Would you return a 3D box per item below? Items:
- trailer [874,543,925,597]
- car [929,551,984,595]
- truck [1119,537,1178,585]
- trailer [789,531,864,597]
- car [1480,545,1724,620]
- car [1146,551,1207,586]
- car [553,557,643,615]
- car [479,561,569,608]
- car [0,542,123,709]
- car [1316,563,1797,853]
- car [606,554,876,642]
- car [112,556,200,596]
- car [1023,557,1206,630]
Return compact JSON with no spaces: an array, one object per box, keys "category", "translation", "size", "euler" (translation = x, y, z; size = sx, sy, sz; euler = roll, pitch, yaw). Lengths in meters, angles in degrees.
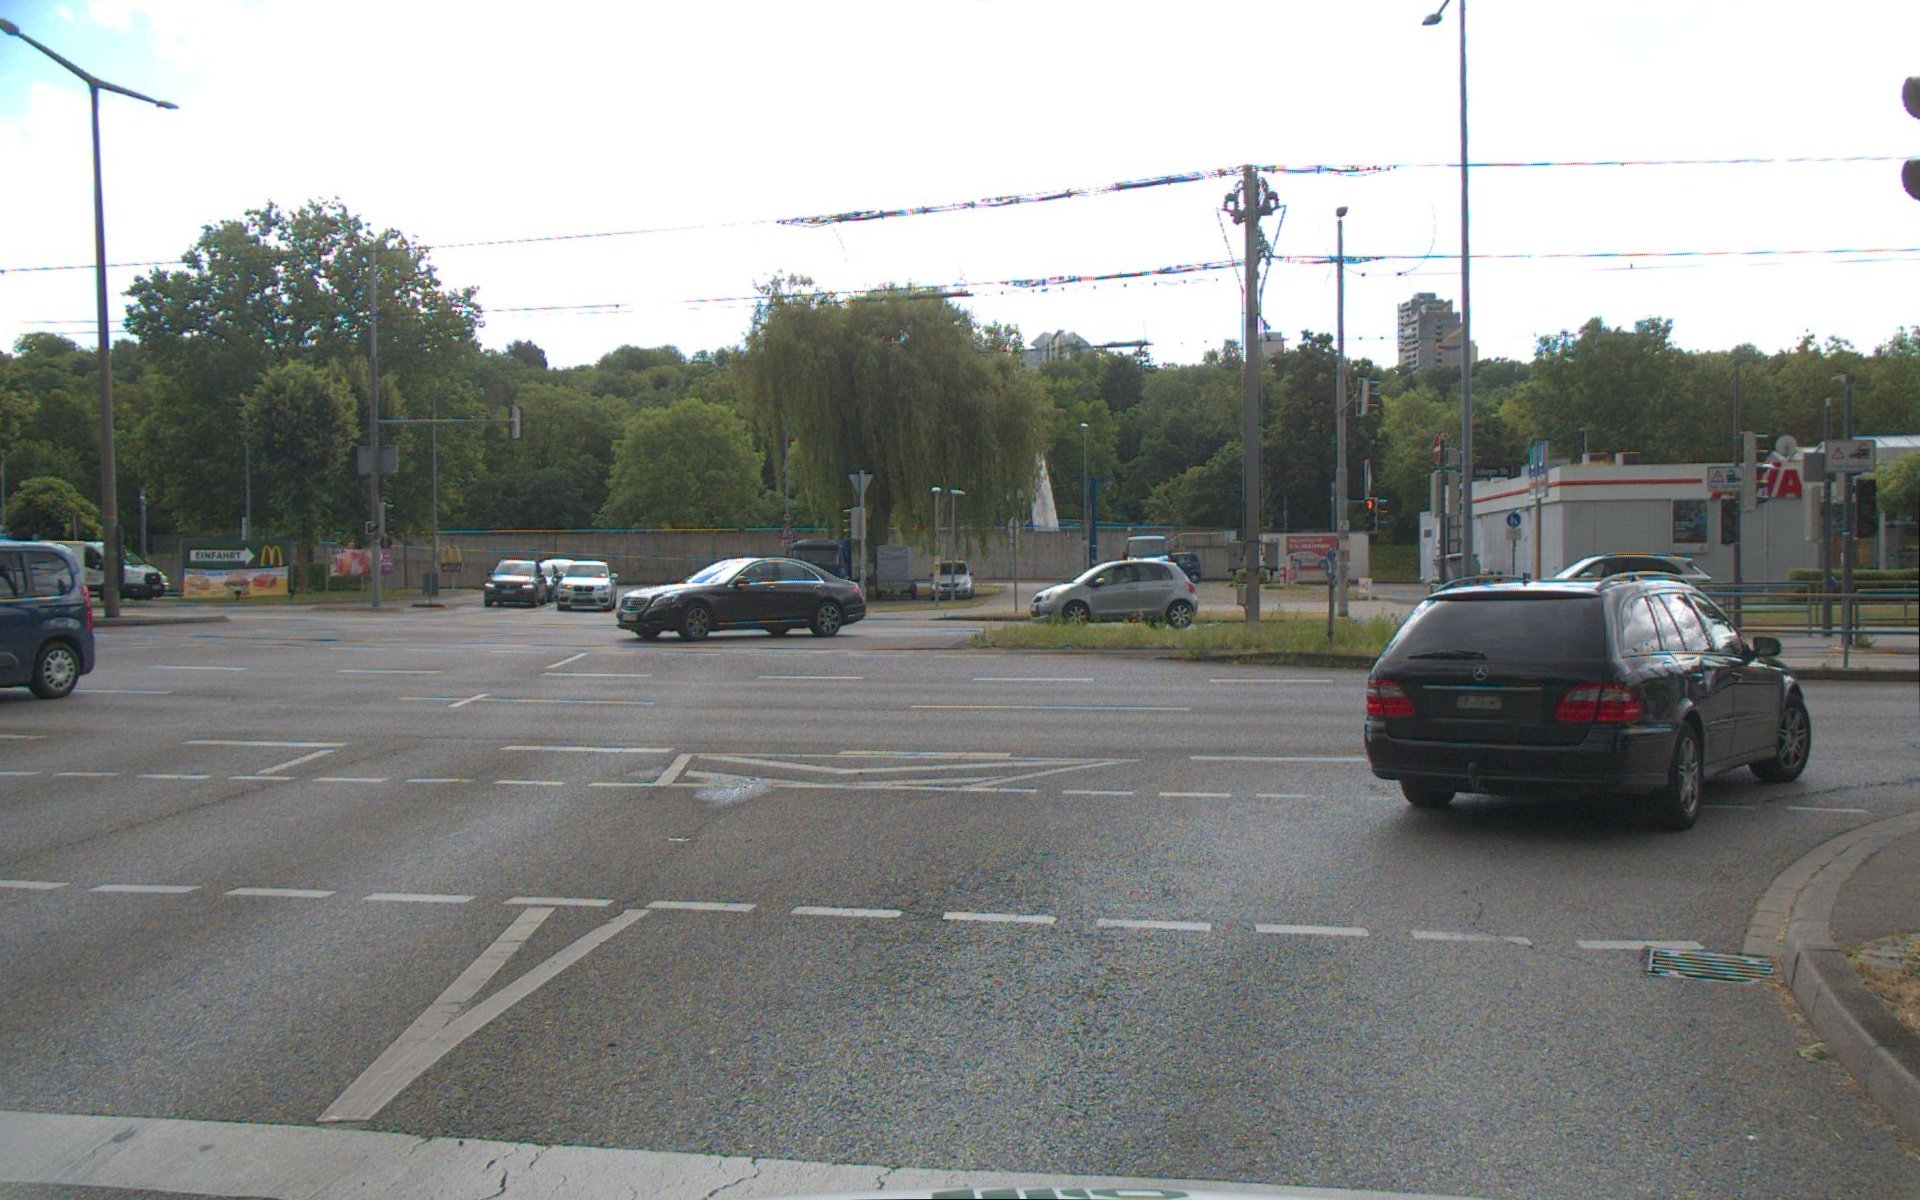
[{"category":"trailer","translation":[-2.592,-1.296,71.848],"size":[1.952,2.222,4.000],"euler":[-1,0,1]},{"category":"car","translation":[-0.111,-1.125,70.456],"size":[1.951,1.780,4.002],"euler":[-1,0,5]},{"category":"truck","translation":[8.499,-1.717,74.933],"size":[2.188,2.049,5.241],"euler":[-1,0,1]},{"category":"trailer","translation":[-5.565,-1.470,69.703],"size":[2.302,2.627,4.923],"euler":[-1,0,5]},{"category":"car","translation":[14.434,-0.405,37.440],"size":[4.818,1.628,2.017],"euler":[0,1,8]},{"category":"car","translation":[11.959,-1.749,91.505],"size":[3.090,1.850,1.401],"euler":[-1,0,-7]},{"category":"car","translation":[-12.595,-0.498,57.752],"size":[1.951,1.892,4.002],"euler":[-1,0,5]},{"category":"car","translation":[-15.808,-0.584,60.183],"size":[1.951,1.668,4.003],"euler":[0,1,5]},{"category":"car","translation":[-11.243,0.268,17.521],"size":[1.568,1.805,4.562],"euler":[1,1,16]},{"category":"car","translation":[4.233,0.533,11.232],"size":[1.793,1.535,4.555],"euler":[0,1,37]},{"category":"car","translation":[-4.099,-0.087,31.575],"size":[5.022,1.550,1.718],"euler":[-1,1,-41]},{"category":"car","translation":[-42.717,-1.264,87.918],"size":[3.928,2.049,1.989],"euler":[-2,0,-20]},{"category":"car","translation":[3.414,-0.166,36.747],"size":[3.705,1.534,1.698],"euler":[-1,1,-14]}]
